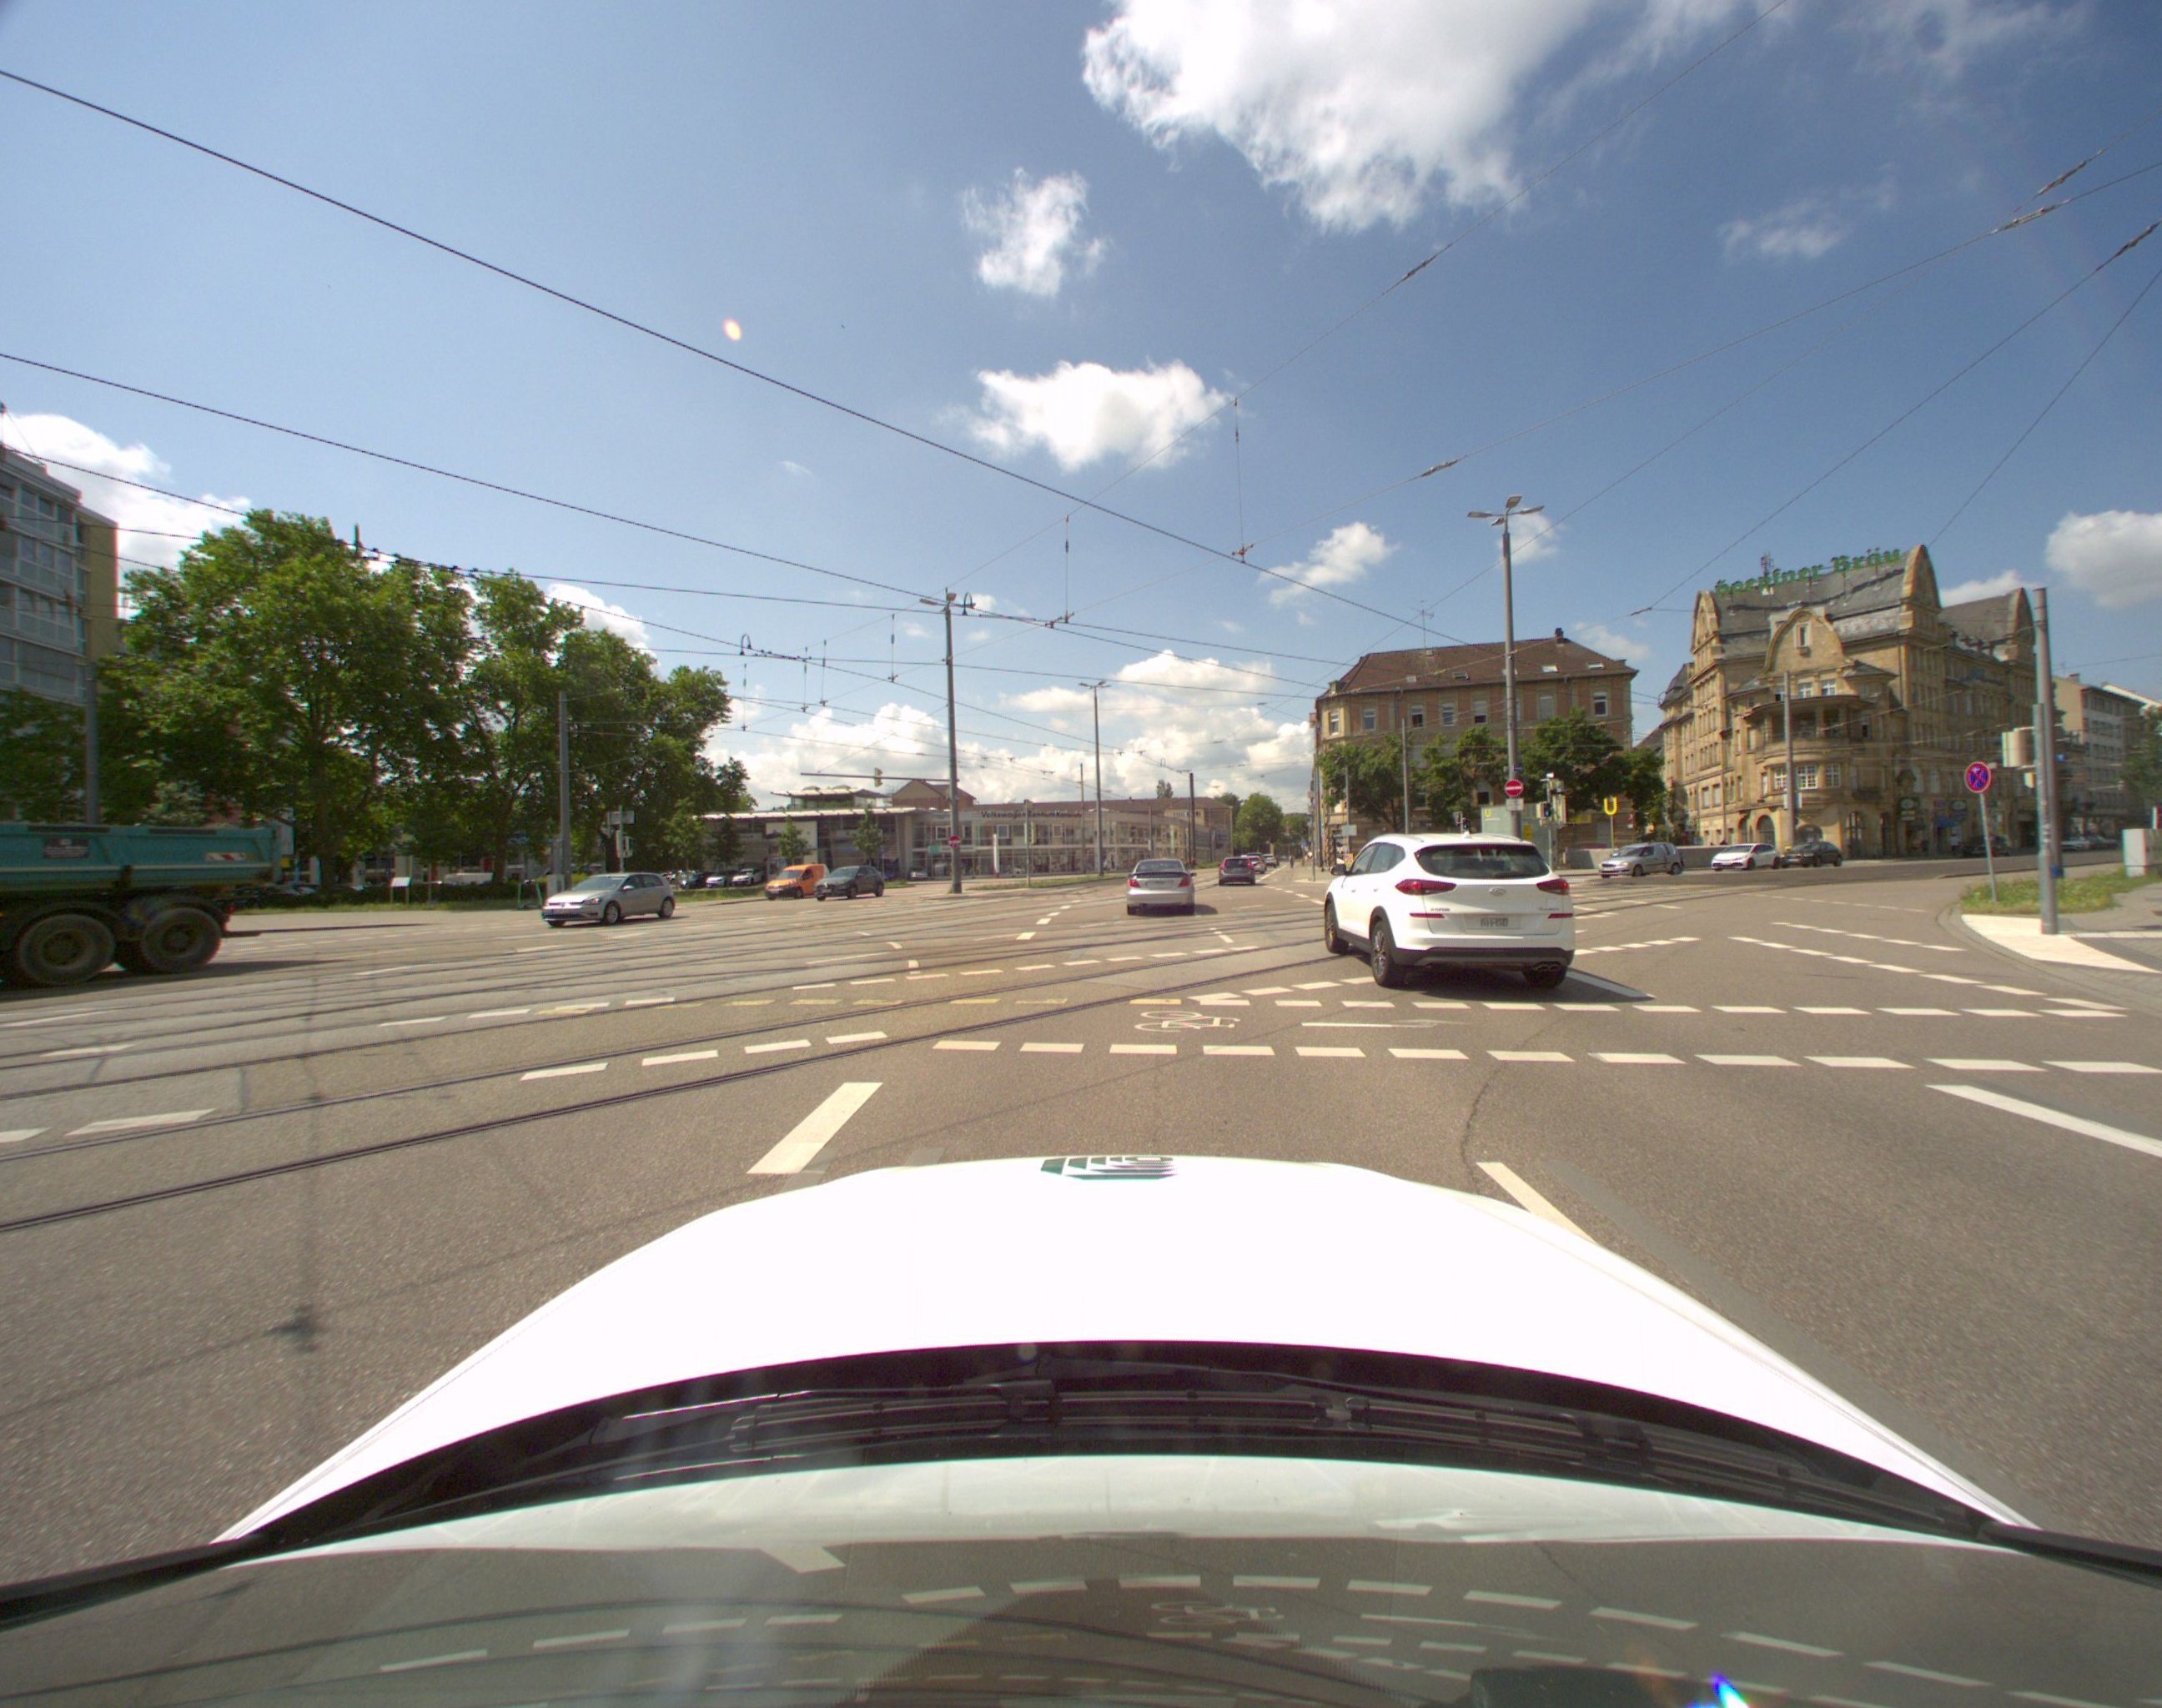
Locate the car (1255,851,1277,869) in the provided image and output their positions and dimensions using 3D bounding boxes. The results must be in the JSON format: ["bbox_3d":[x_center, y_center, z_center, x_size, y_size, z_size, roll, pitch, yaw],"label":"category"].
[{"bbox_3d":[17.880,0.579,78.615,1.867,1.641,3.973,-2,0,15],"label":"car"}]

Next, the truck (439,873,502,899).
[{"bbox_3d":[-55.195,2.862,73.765,1.795,2.120,4.784,-2,0,4],"label":"truck"}]

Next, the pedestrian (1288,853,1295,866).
[{"bbox_3d":[23.391,0.606,90.344,0.687,1.457,0.682,-1,-2,14],"label":"pedestrian"}]

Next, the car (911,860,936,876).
[{"bbox_3d":[-16.189,1.489,84.078,1.989,1.574,3.995,-1,-2,-3],"label":"car"}]

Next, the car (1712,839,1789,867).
[{"bbox_3d":[38.051,-0.048,46.293,4.145,1.473,1.710,-2,-1,-24],"label":"car"}]

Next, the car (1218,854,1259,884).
[{"bbox_3d":[7.982,0.746,41.582,1.870,1.419,3.966,-2,0,8],"label":"car"}]

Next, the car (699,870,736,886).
[{"bbox_3d":[-37.107,2.441,83.242,1.989,1.574,4.173,-1,-2,-3],"label":"car"}]

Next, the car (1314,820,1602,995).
[{"bbox_3d":[4.215,0.524,9.940,1.872,1.641,4.239,-2,0,6],"label":"car"}]

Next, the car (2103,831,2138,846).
[{"bbox_3d":[110.739,-1.625,86.771,4.152,1.473,1.707,-2,-1,-30],"label":"car"}]

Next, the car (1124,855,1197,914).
[{"bbox_3d":[2.111,0.742,21.697,1.733,1.392,4.186,-2,0,5],"label":"car"}]

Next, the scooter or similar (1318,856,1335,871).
[{"bbox_3d":[19.173,0.736,63.618,1.528,1.174,0.378,1,-2,-38],"label":"scooter or similar"}]

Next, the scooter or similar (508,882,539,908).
[{"bbox_3d":[-24.185,1.761,35.345,0.375,1.115,1.100,-1,-2,19],"label":"scooter or similar"}]

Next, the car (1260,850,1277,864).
[{"bbox_3d":[22.872,0.372,99.093,1.867,1.641,3.973,-2,0,15],"label":"car"}]

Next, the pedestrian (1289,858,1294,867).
[{"bbox_3d":[23.387,0.960,90.322,0.521,0.907,1.567,-1,-2,14],"label":"pedestrian"}]

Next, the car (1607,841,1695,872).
[{"bbox_3d":[29.639,0.146,42.371,4.141,1.473,1.711,-2,0,-21],"label":"car"}]

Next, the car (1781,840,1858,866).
[{"bbox_3d":[44.385,-0.055,48.966,4.141,1.473,1.711,-2,0,-21],"label":"car"}]

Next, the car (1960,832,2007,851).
[{"bbox_3d":[72.593,-1.012,65.507,4.152,1.473,1.707,-2,-1,-30],"label":"car"}]

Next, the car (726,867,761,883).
[{"bbox_3d":[-34.234,2.144,82.754,1.989,1.574,4.173,-1,-2,-3],"label":"car"}]

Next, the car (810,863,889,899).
[{"bbox_3d":[-10.891,1.247,38.573,1.705,1.531,4.137,-2,0,14],"label":"car"}]

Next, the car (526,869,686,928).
[{"bbox_3d":[-13.606,1.226,23.680,1.643,1.434,4.282,-2,0,9],"label":"car"}]

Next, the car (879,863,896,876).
[{"bbox_3d":[-19.527,1.622,82.053,1.651,1.251,3.980,0,-2,-14],"label":"car"}]

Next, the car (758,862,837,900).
[{"bbox_3d":[-15.092,1.404,43.624,1.706,1.800,4.756,-3,-1,12],"label":"car"}]

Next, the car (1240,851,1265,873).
[{"bbox_3d":[14.009,0.635,66.438,1.868,1.641,3.971,-2,0,13],"label":"car"}]

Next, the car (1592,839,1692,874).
[{"bbox_3d":[25.726,0.122,37.356,4.141,1.473,1.711,-2,0,-21],"label":"car"}]

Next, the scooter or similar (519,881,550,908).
[{"bbox_3d":[-23.540,1.737,35.100,0.375,1.115,1.100,-1,-2,19],"label":"scooter or similar"}]

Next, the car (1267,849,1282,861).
[{"bbox_3d":[27.324,0.168,114.890,1.867,1.641,3.973,-2,0,15],"label":"car"}]

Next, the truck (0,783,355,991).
[{"bbox_3d":[-16.193,0.491,11.671,2.869,2.852,8.812,-2,0,8],"label":"truck"}]

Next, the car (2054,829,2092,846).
[{"bbox_3d":[94.927,-1.602,77.920,4.152,1.473,1.707,-2,-1,-30],"label":"car"}]
